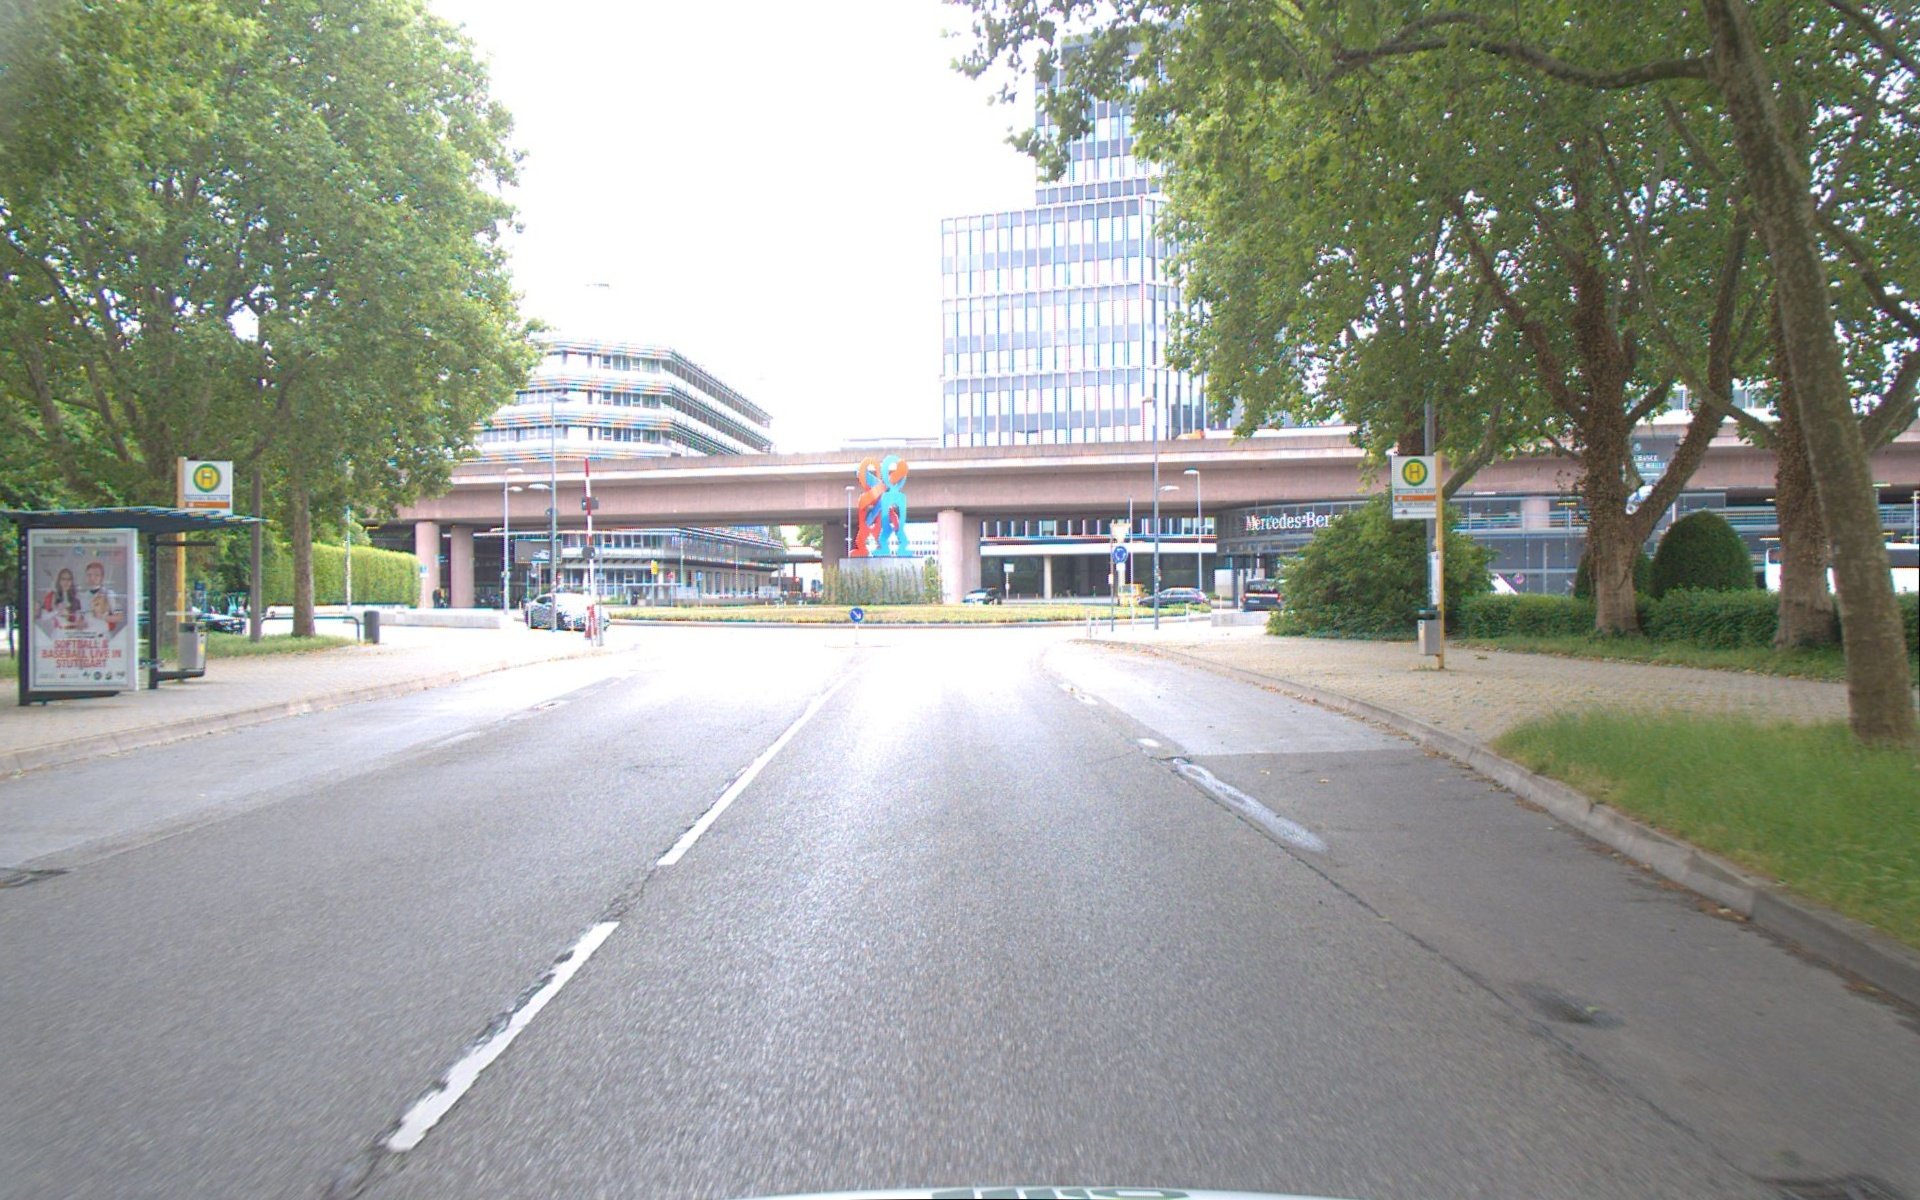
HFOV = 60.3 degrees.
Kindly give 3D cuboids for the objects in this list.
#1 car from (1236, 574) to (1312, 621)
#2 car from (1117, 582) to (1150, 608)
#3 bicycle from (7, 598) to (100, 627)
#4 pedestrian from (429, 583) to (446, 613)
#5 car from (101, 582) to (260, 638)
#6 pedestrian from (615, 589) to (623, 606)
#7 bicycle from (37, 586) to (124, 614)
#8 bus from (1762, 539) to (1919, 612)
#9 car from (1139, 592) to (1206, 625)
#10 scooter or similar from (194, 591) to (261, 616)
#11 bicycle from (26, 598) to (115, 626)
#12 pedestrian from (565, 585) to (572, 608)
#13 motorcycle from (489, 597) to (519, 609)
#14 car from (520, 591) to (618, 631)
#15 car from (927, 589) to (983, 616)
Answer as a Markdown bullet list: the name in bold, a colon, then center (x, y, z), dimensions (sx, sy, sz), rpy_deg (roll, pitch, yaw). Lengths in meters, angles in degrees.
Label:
- **car**: center (14.406, -0.103, 75.739), dimensions (2.232, 2.049, 4.778), rpy_deg (0, 0, 27)
- **car**: center (13.696, -0.398, 130.163), dimensions (1.951, 2.049, 4.003), rpy_deg (0, 0, 16)
- **bicycle**: center (-36.049, 0.490, 65.796), dimensions (3.130, 1.116, 0.770), rpy_deg (1, 0, -17)
- **pedestrian**: center (-35.617, -0.126, 112.774), dimensions (1.025, 2.049, 0.597), rpy_deg (0, 0, -13)
- **car**: center (-23.858, 0.288, 50.773), dimensions (3.915, 1.633, 2.227), rpy_deg (-1, 0, -11)
- **pedestrian**: center (-39.987, -0.286, 193.992), dimensions (0.760, 2.049, 0.670), rpy_deg (0, 0, -1)
- **bicycle**: center (-37.127, 0.011, 69.834), dimensions (3.130, 1.116, 0.770), rpy_deg (1, 0, -17)
- **bus**: center (50.842, -1.324, 92.855), dimensions (10.843, 4.003, 2.753), rpy_deg (0, 0, -9)
- **car**: center (12.543, 0.493, 97.643), dimensions (3.642, 1.959, 1.923), rpy_deg (0, 0, 16)
- **scooter or similar**: center (-38.436, 0.187, 86.841), dimensions (3.131, 1.271, 0.769), rpy_deg (0, 0, -18)
- **bicycle**: center (-36.816, 0.491, 68.498), dimensions (3.130, 1.116, 0.770), rpy_deg (1, 0, -17)
- **pedestrian**: center (-35.360, -0.322, 149.395), dimensions (0.578, 2.049, 0.597), rpy_deg (0, 0, -13)
- **motorcycle**: center (-43.600, 0.292, 158.148), dimensions (2.598, 1.132, 1.039), rpy_deg (0, 0, 20)
- **car**: center (-15.645, 0.443, 65.992), dimensions (1.889, 1.478, 4.746), rpy_deg (-2, 1, -39)
- **car**: center (-0.323, 0.149, 112.810), dimensions (1.958, 1.803, 3.989), rpy_deg (0, 0, 32)
